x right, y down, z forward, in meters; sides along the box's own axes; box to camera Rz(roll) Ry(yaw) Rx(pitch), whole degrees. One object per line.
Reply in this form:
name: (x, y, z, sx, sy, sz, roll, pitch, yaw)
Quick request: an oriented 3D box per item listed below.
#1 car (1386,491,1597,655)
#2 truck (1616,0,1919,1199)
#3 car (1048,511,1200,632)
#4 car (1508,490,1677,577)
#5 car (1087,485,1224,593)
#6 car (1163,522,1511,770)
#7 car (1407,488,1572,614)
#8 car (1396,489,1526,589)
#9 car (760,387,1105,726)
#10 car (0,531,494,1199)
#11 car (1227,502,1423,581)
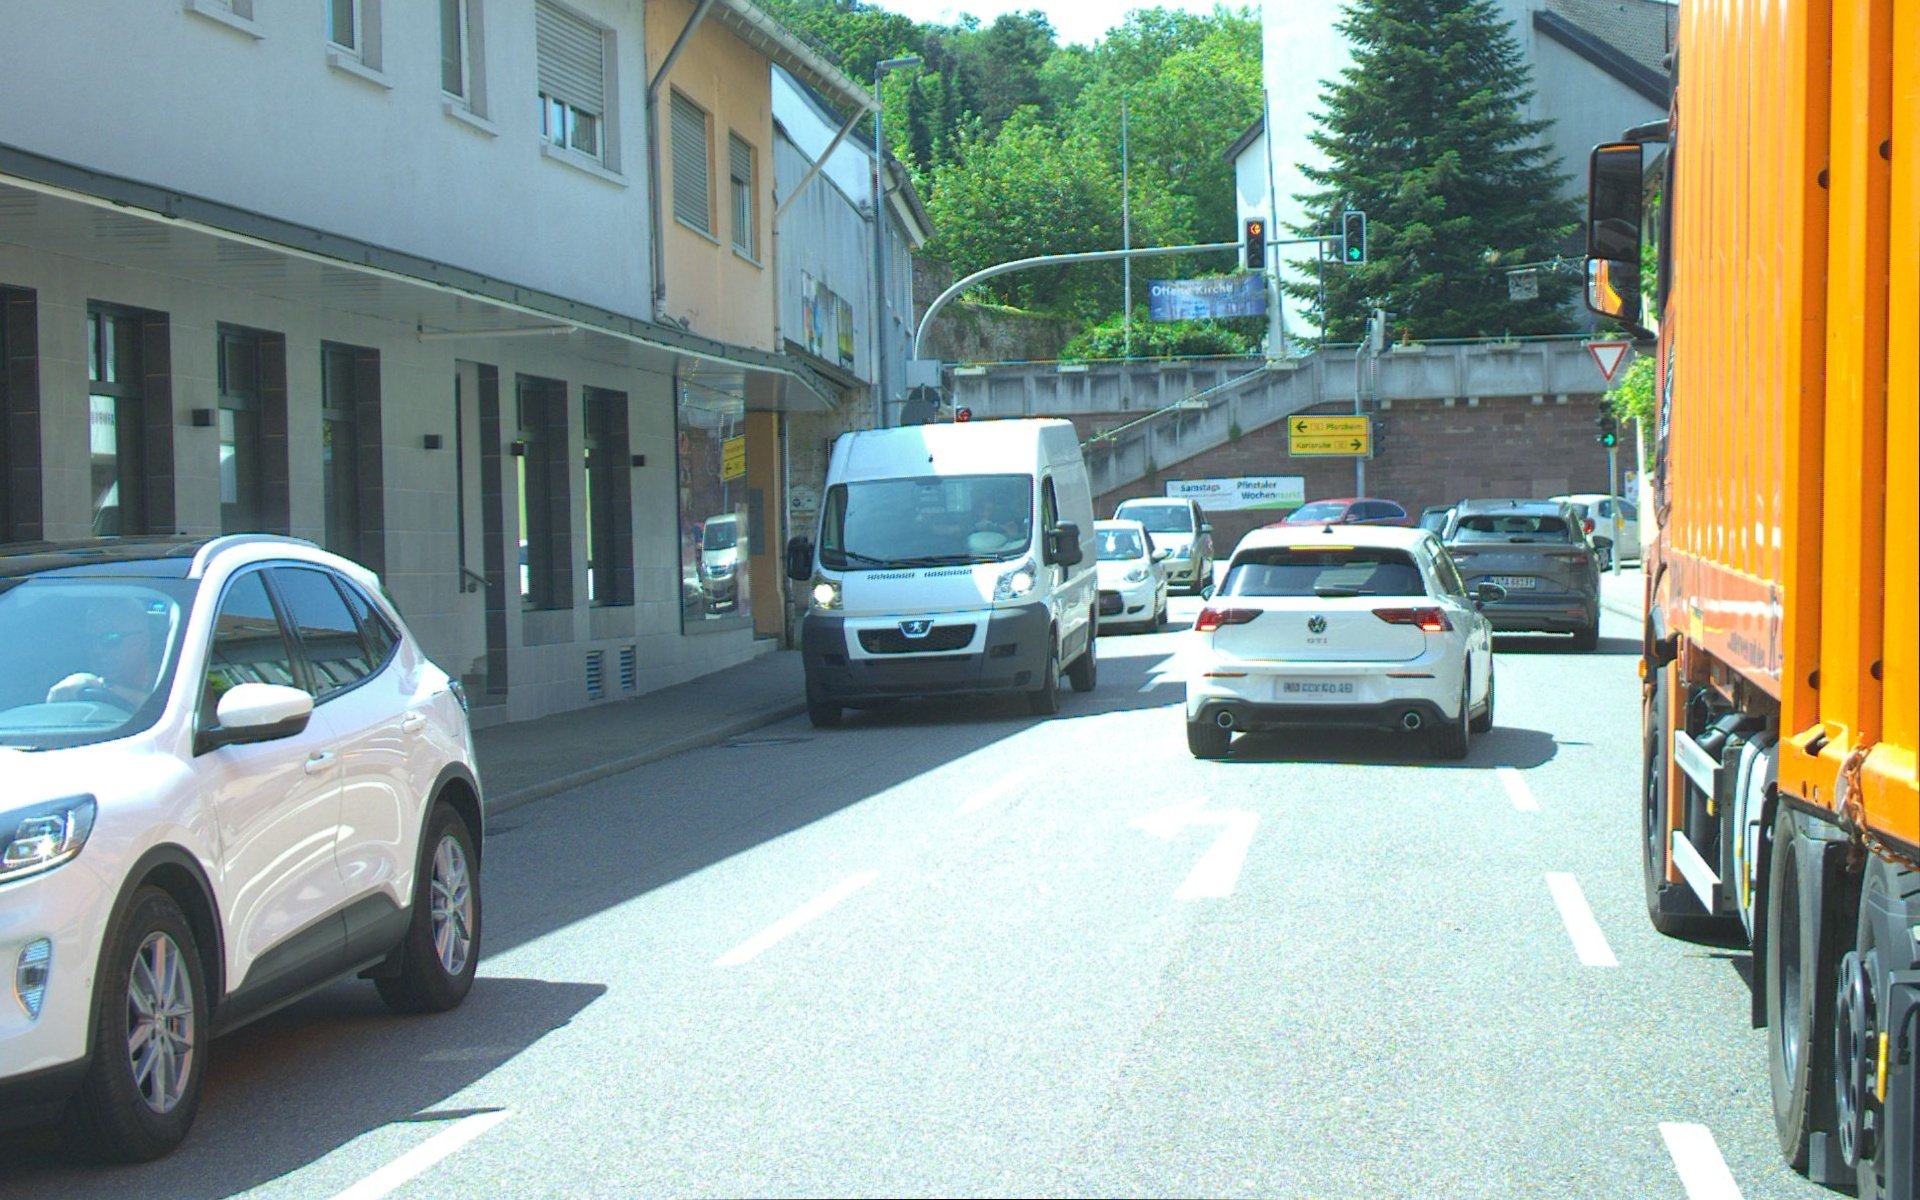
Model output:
car: (5.826, -0.349, 38.117, 1.949, 1.577, 4.326, -1, 3, 4)
truck: (3.305, -0.638, 9.178, 2.609, 3.931, 9.990, 1, 2, 9)
car: (2.198, -0.404, 45.369, 1.597, 1.450, 3.446, -3, 1, 8)
car: (12.827, -1.375, 69.503, 1.952, 1.577, 4.319, 1, 4, 31)
car: (3.316, -1.055, 57.808, 1.680, 1.611, 3.820, -3, 2, 12)
car: (2.565, 0.243, 22.596, 1.784, 1.453, 3.861, -1, 1, 13)
car: (7.466, -0.736, 48.823, 1.949, 1.577, 4.326, -1, 3, 4)
car: (8.844, -1.116, 60.958, 1.949, 1.577, 4.326, -1, 3, 4)
car: (-0.109, -0.404, 29.691, 2.140, 2.560, 5.392, -3, 1, 7)
car: (-2.835, 0.649, 10.084, 1.818, 1.549, 4.197, -3, 0, 7)
car: (7.829, -1.264, 73.571, 4.273, 1.404, 1.722, -5, 3, -43)
